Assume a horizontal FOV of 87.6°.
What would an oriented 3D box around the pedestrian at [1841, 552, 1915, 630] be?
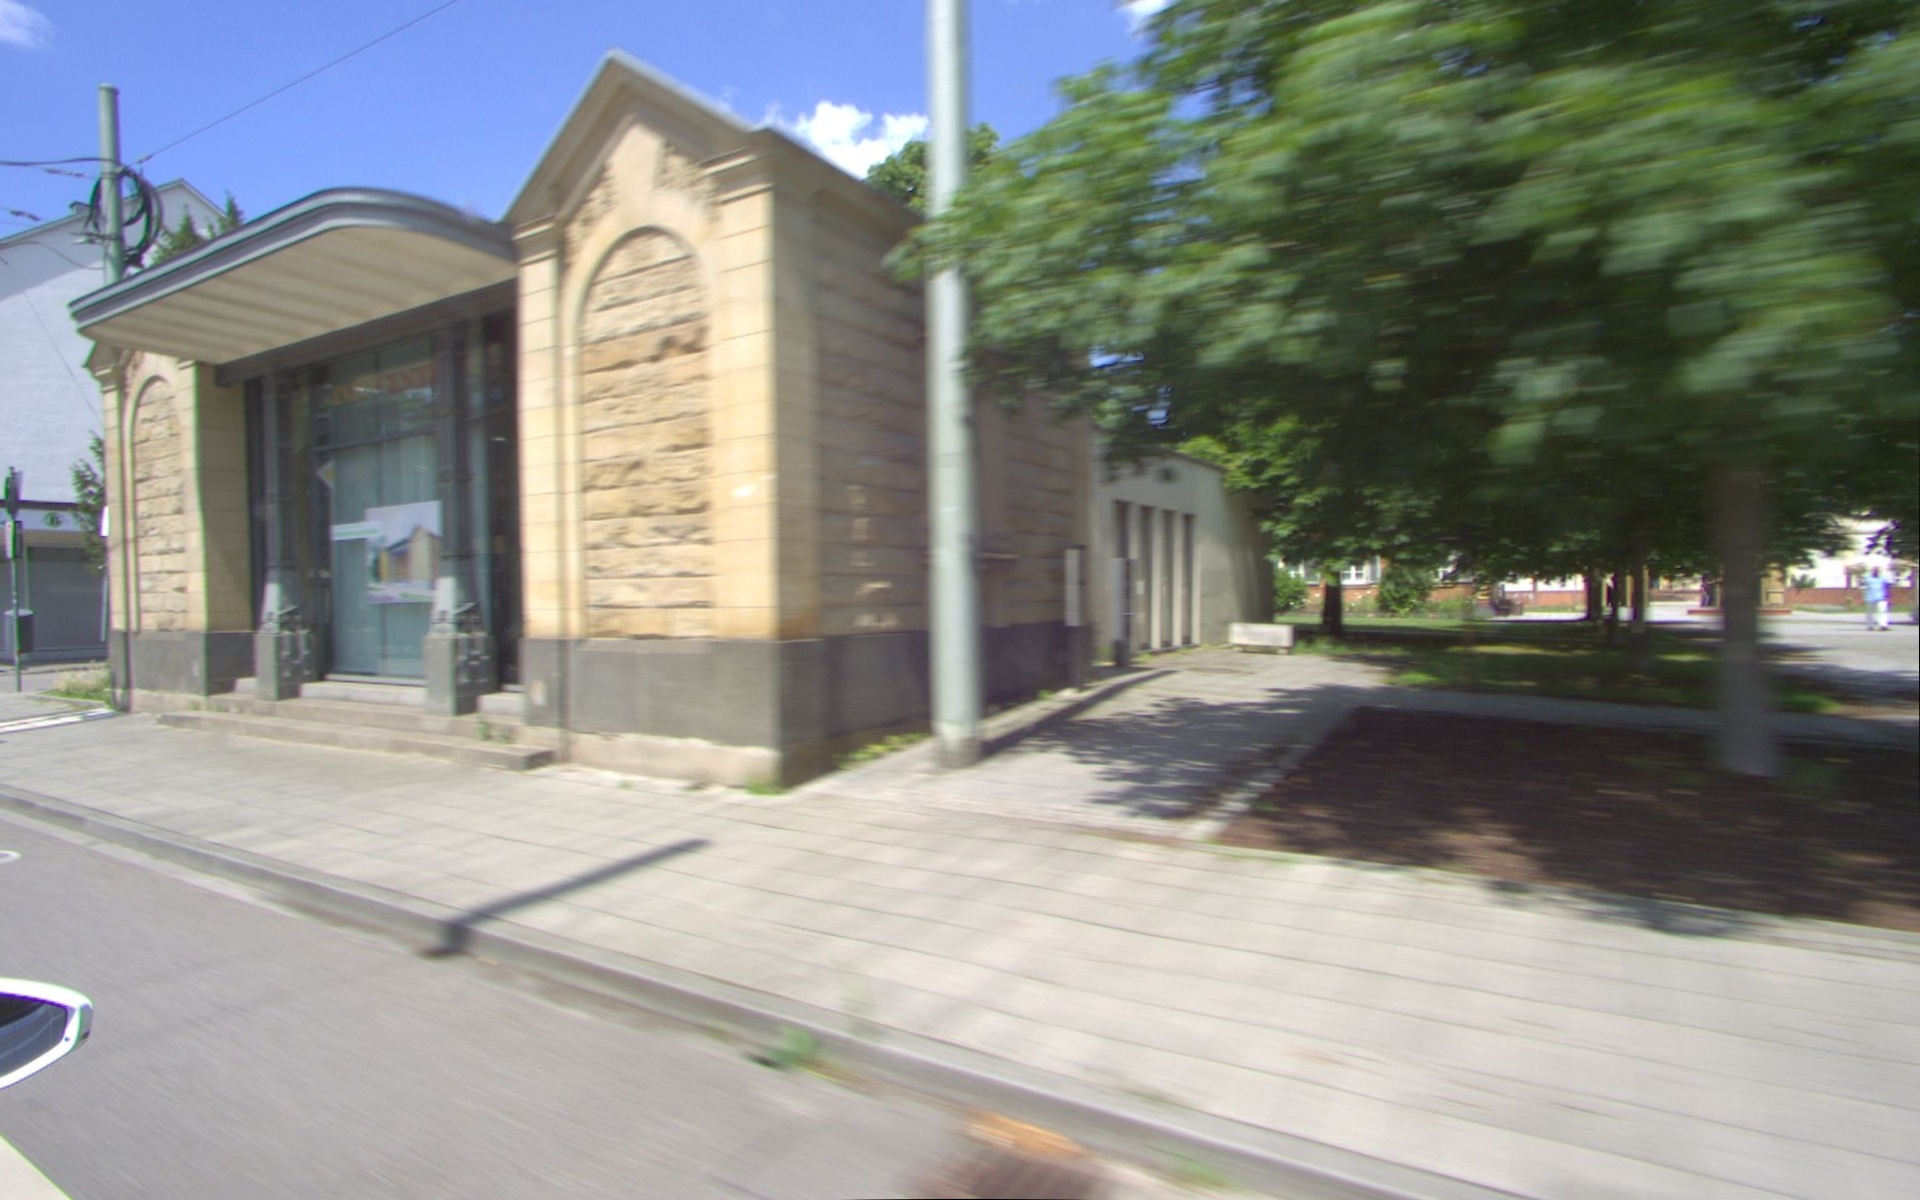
[{"bbox_3d":[24.552,-0.242,26.803,1.237,2.041,0.822,-1,3,20],"label":"pedestrian"}]
